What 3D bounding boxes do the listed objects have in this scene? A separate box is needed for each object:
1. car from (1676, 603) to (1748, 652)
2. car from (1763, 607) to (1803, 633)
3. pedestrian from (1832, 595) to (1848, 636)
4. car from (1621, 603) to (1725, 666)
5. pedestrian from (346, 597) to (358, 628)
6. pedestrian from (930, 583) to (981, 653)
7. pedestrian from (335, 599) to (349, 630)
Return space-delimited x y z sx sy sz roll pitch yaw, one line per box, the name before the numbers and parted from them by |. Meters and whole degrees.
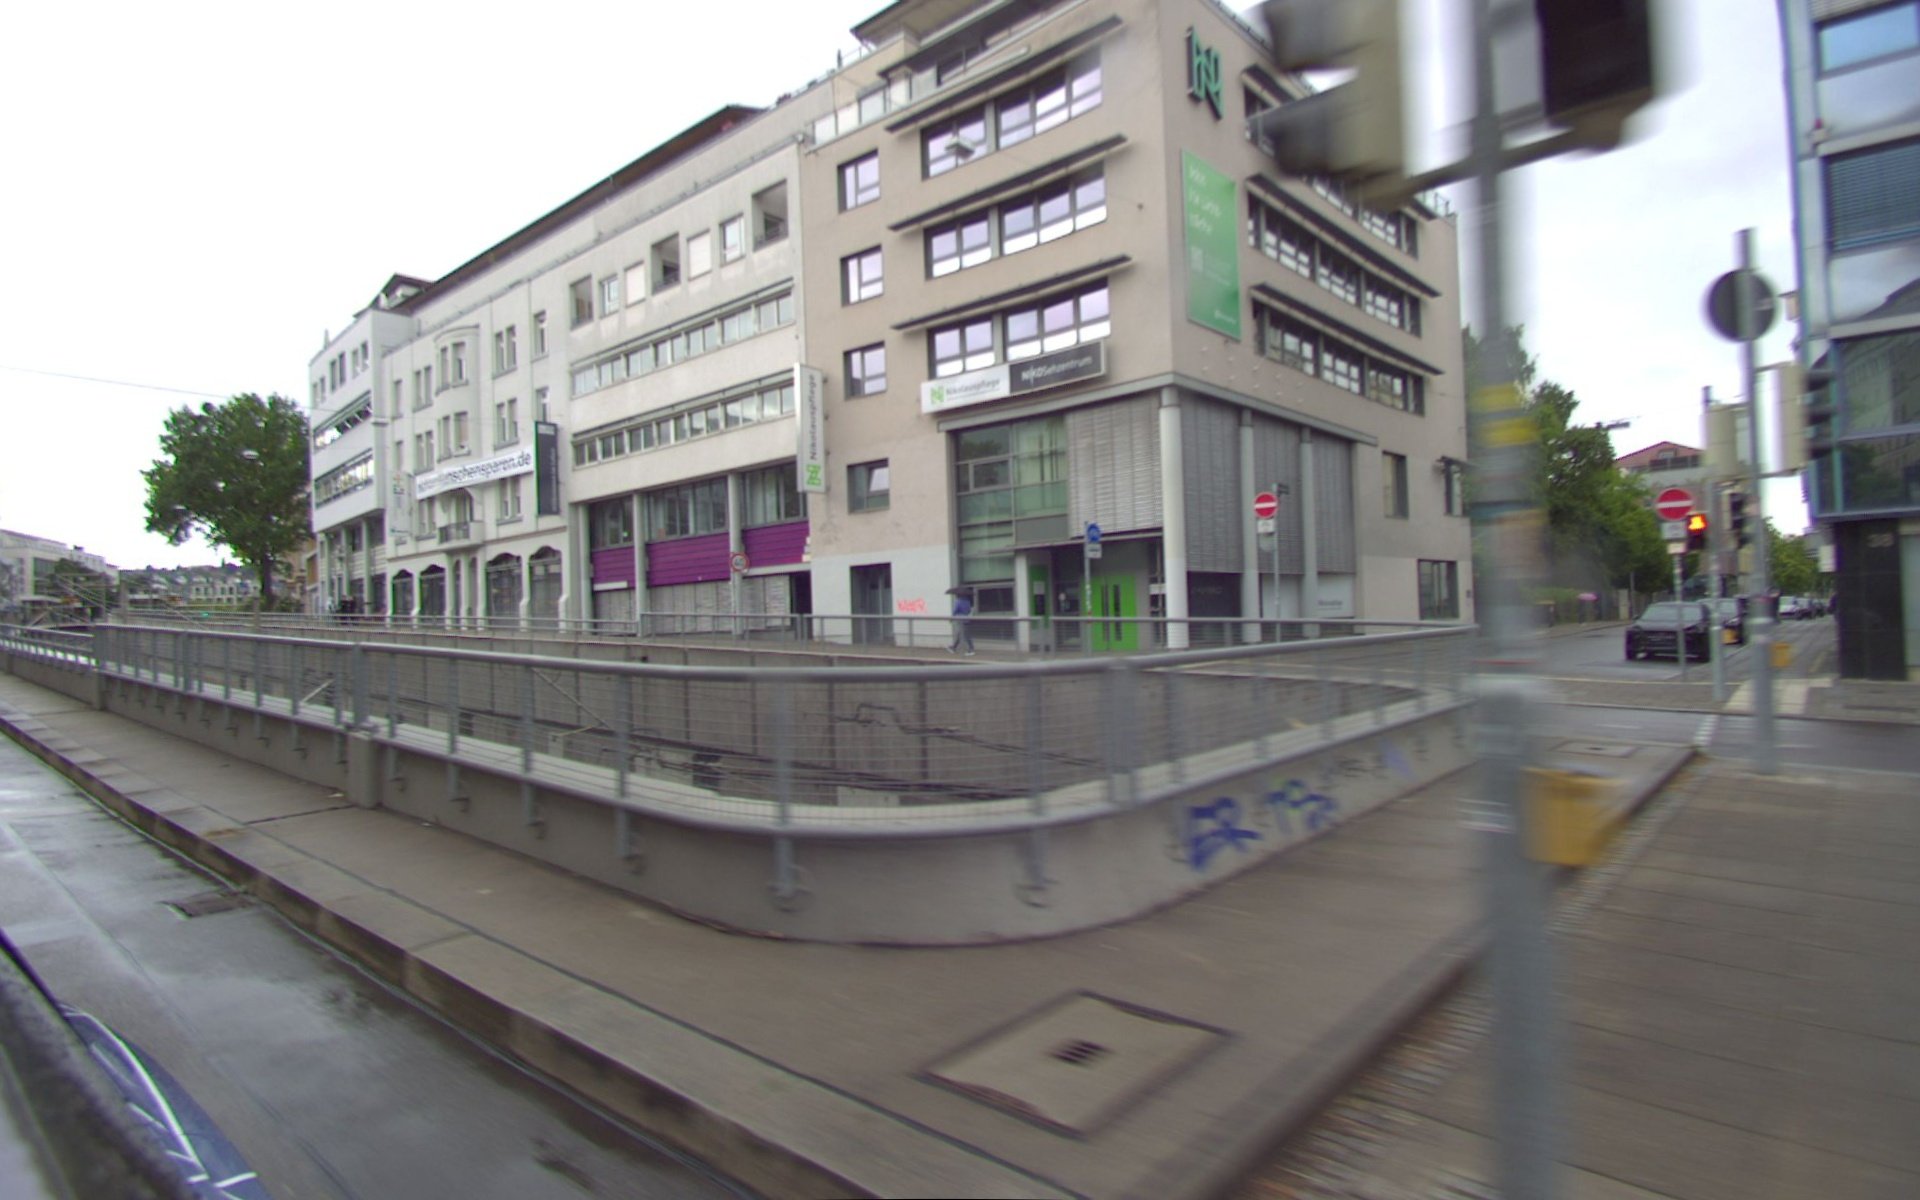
car | 25.937 0.930 34.868 1.796 1.569 3.947 -1 -1 39
car | 49.870 1.203 61.282 1.796 1.569 3.947 -1 -1 40
pedestrian | 36.335 0.644 41.801 0.447 1.654 0.325 -1 0 36
car | 19.256 0.887 27.274 1.998 1.569 3.947 -1 -1 39
pedestrian | -35.895 0.761 59.730 0.547 1.816 0.463 -1 0 44
pedestrian | -0.119 0.474 27.233 1.059 1.852 0.848 -1 0 41
pedestrian | -36.910 0.849 60.479 0.469 1.816 0.541 -1 0 33
